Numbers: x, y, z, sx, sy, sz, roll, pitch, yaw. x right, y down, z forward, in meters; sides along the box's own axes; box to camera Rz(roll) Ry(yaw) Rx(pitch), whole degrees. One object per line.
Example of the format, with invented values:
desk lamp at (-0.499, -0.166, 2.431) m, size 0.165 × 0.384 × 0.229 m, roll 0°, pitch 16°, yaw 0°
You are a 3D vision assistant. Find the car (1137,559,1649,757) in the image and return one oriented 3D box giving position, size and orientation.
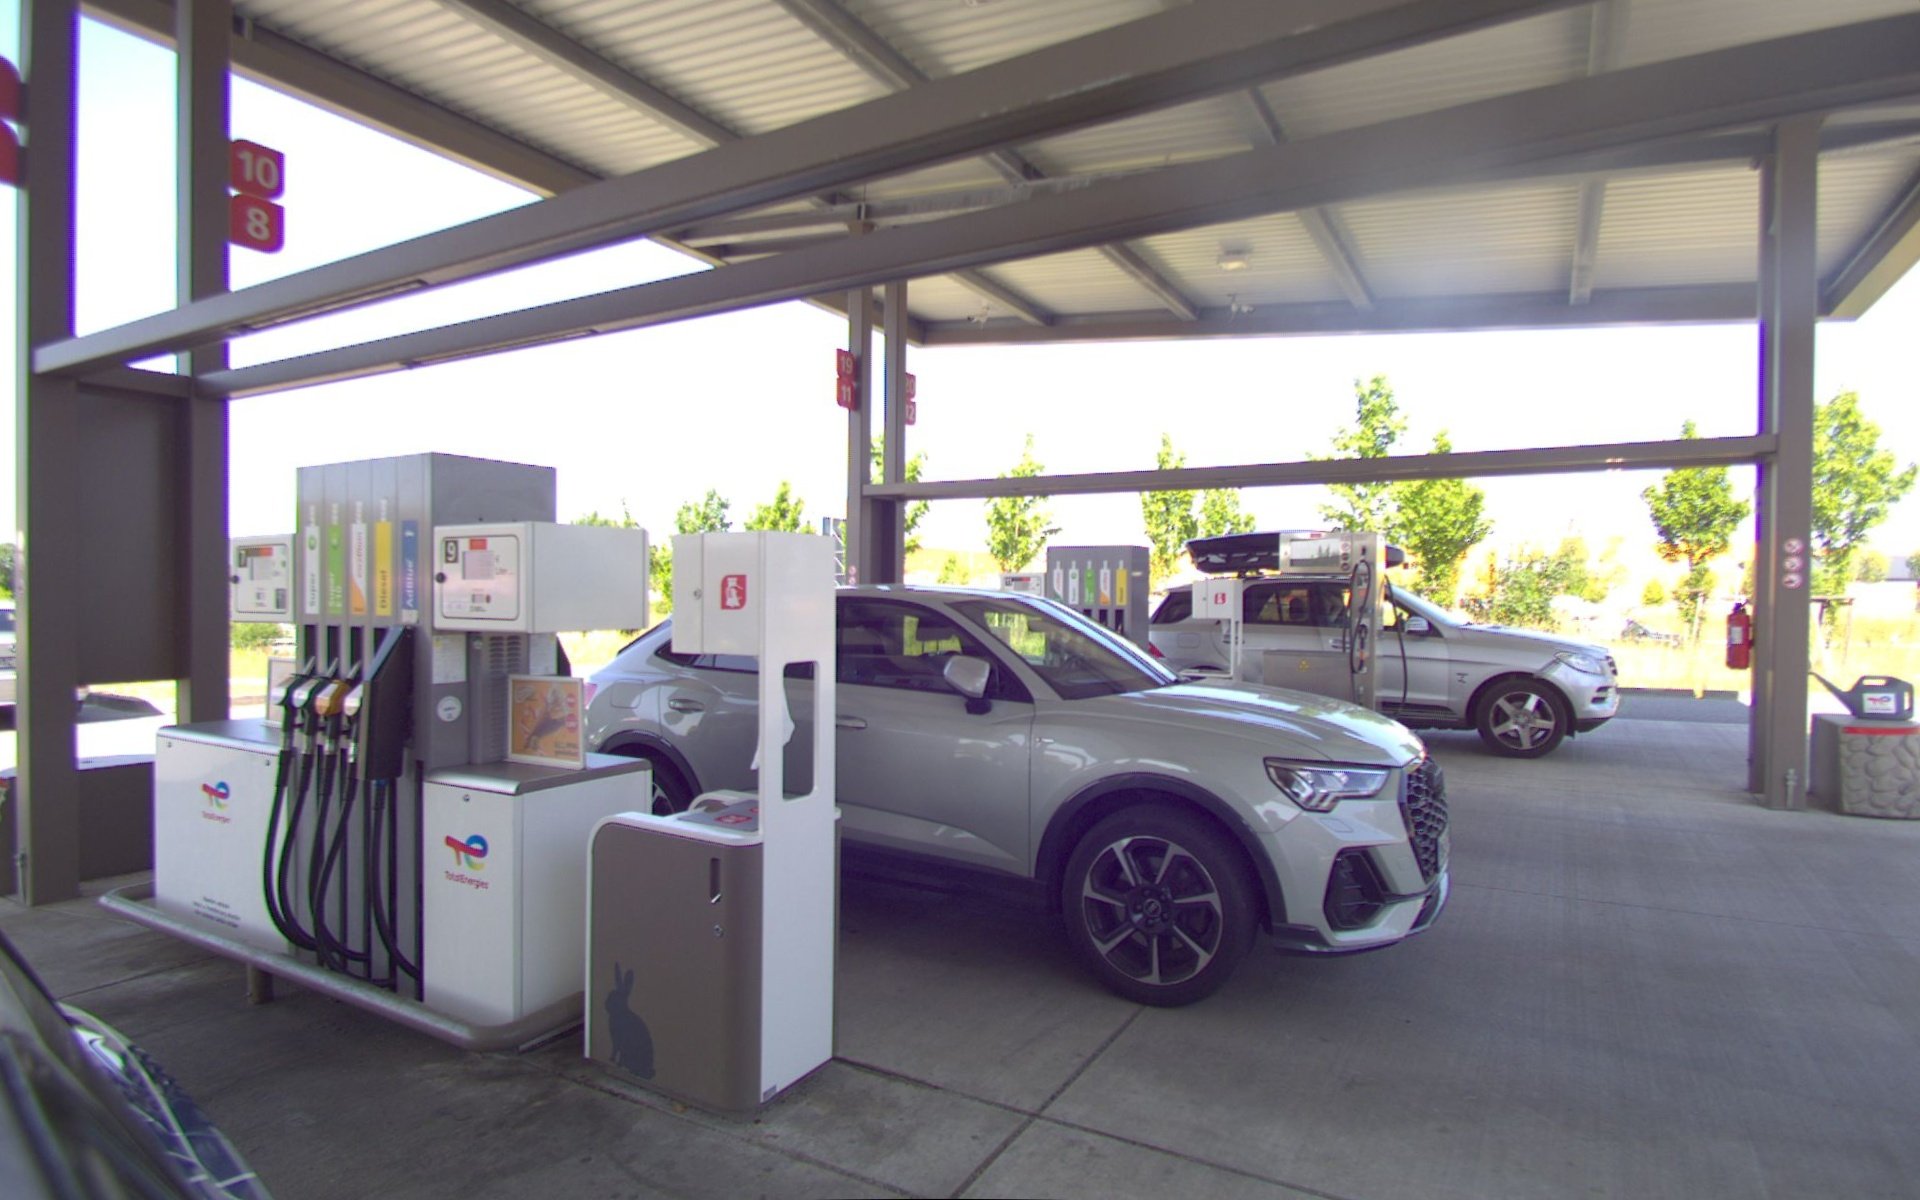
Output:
car at (4.304, 0.517, 10.545) m, size 4.513 × 1.700 × 1.849 m, roll -1°, pitch 0°, yaw 27°

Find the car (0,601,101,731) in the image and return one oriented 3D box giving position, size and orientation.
car at (-12.783, 0.747, 12.751) m, size 4.307 × 1.439 × 1.774 m, roll 1°, pitch 0°, yaw 32°

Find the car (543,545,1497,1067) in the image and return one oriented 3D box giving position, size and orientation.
car at (0.118, 0.626, 4.901) m, size 4.310 × 1.553 × 1.767 m, roll 0°, pitch 0°, yaw 31°
